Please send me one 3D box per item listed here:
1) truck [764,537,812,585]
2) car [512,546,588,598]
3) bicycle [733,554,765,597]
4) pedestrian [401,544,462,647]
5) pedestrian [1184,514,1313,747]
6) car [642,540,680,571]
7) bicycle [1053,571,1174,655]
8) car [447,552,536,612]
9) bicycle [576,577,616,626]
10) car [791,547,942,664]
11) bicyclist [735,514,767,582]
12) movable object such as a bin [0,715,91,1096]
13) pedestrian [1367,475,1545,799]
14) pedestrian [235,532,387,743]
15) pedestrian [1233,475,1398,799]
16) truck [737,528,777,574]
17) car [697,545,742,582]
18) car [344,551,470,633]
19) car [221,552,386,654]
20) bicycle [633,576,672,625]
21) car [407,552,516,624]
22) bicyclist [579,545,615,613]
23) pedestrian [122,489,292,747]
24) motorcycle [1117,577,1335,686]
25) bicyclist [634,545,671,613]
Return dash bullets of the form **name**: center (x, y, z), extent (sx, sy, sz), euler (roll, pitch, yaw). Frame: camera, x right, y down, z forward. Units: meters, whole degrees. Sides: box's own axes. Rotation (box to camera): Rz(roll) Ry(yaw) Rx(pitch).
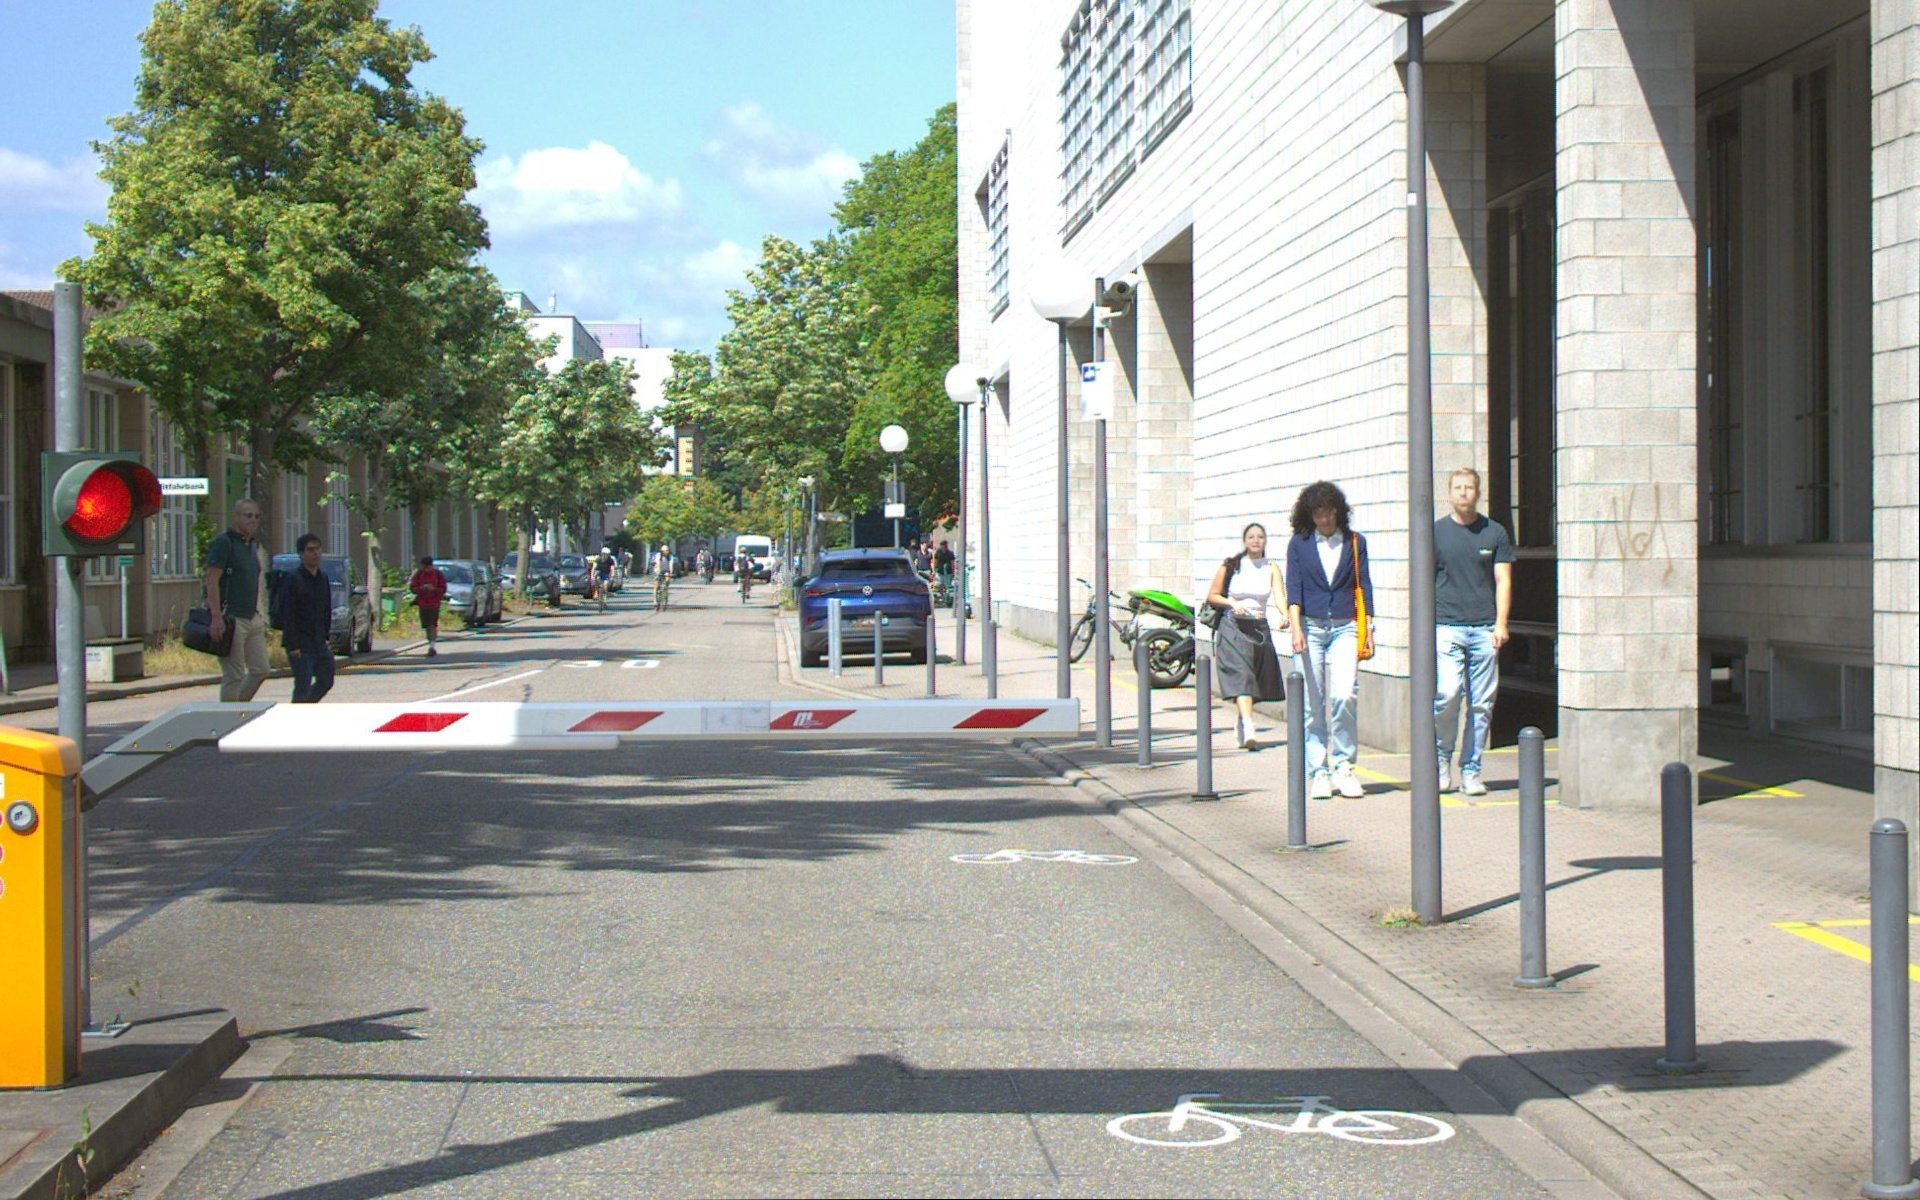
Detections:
- **truck**: center (-7.628, -1.723, 152.349), extent (1.993, 2.007, 4.000), euler (-1, -1, -5)
- **car**: center (-12.430, -0.859, 104.484), extent (1.993, 1.540, 4.212), euler (0, 1, -3)
- **bicycle**: center (-6.702, -0.773, 109.289), extent (0.987, 1.311, 2.964), euler (-1, -1, -4)
- **pedestrian**: center (-8.401, -0.067, 54.691), extent (0.893, 1.627, 0.888), euler (0, 0, -4)
- **pedestrian**: center (2.070, 0.205, 24.793), extent (0.741, 1.627, 0.888), euler (-2, 1, -5)
- **car**: center (-18.146, -2.698, 208.825), extent (1.993, 1.714, 4.000), euler (-1, -1, -1)
- **bicycle**: center (2.002, 0.168, 44.709), extent (1.544, 1.063, 0.647), euler (-1, 1, 5)
- **car**: center (-12.526, -0.500, 92.071), extent (1.993, 1.540, 4.212), euler (0, 1, -3)
- **bicycle**: center (-10.189, 0.047, 96.252), extent (0.987, 1.311, 2.964), euler (-1, -1, -4)
- **car**: center (-1.337, 0.039, 47.609), extent (1.993, 1.540, 4.212), euler (0, 1, -3)
- **bicyclist**: center (-6.682, -1.662, 109.764), extent (0.987, 2.125, 1.036), euler (-1, -1, -4)
- **movable object such as a bin**: center (-2.399, 0.743, 8.479), extent (0.416, 0.902, 0.353), euler (0, 1, 1)
- **pedestrian**: center (2.812, 0.192, 19.550), extent (0.767, 1.774, 0.911), euler (-2, 1, -5)
- **pedestrian**: center (-5.113, 0.289, 27.080), extent (0.894, 1.627, 0.887), euler (0, 0, -34)
- **pedestrian**: center (2.015, 0.191, 19.611), extent (0.694, 1.774, 1.086), euler (-2, 1, -5)
- **truck**: center (-10.805, -2.598, 182.542), extent (1.993, 2.263, 4.616), euler (-1, -1, -5)
- **car**: center (-12.090, -1.834, 172.835), extent (1.993, 1.714, 4.000), euler (-1, -1, -1)
- **car**: center (-10.832, -0.176, 67.590), extent (1.993, 1.540, 4.212), euler (0, 1, -3)
- **car**: center (-10.347, 0.012, 54.437), extent (1.993, 1.540, 4.212), euler (0, 1, -3)
- **bicycle**: center (-8.599, 0.019, 96.250), extent (0.987, 1.311, 2.964), euler (-1, -1, -3)
- **car**: center (-11.042, -0.297, 76.381), extent (1.993, 1.540, 4.212), euler (0, 1, -3)
- **bicyclist**: center (-10.167, -0.576, 96.275), extent (0.987, 1.877, 1.036), euler (-1, -1, -6)
- **pedestrian**: center (-5.743, 0.134, 26.199), extent (1.003, 1.919, 0.887), euler (0, 0, -34)
- **motorcycle**: center (2.704, 0.320, 35.081), extent (2.122, 1.019, 0.660), euler (-2, -1, -2)
- **bicyclist**: center (-8.579, -0.582, 95.927), extent (0.987, 1.877, 1.036), euler (-1, -1, -3)
